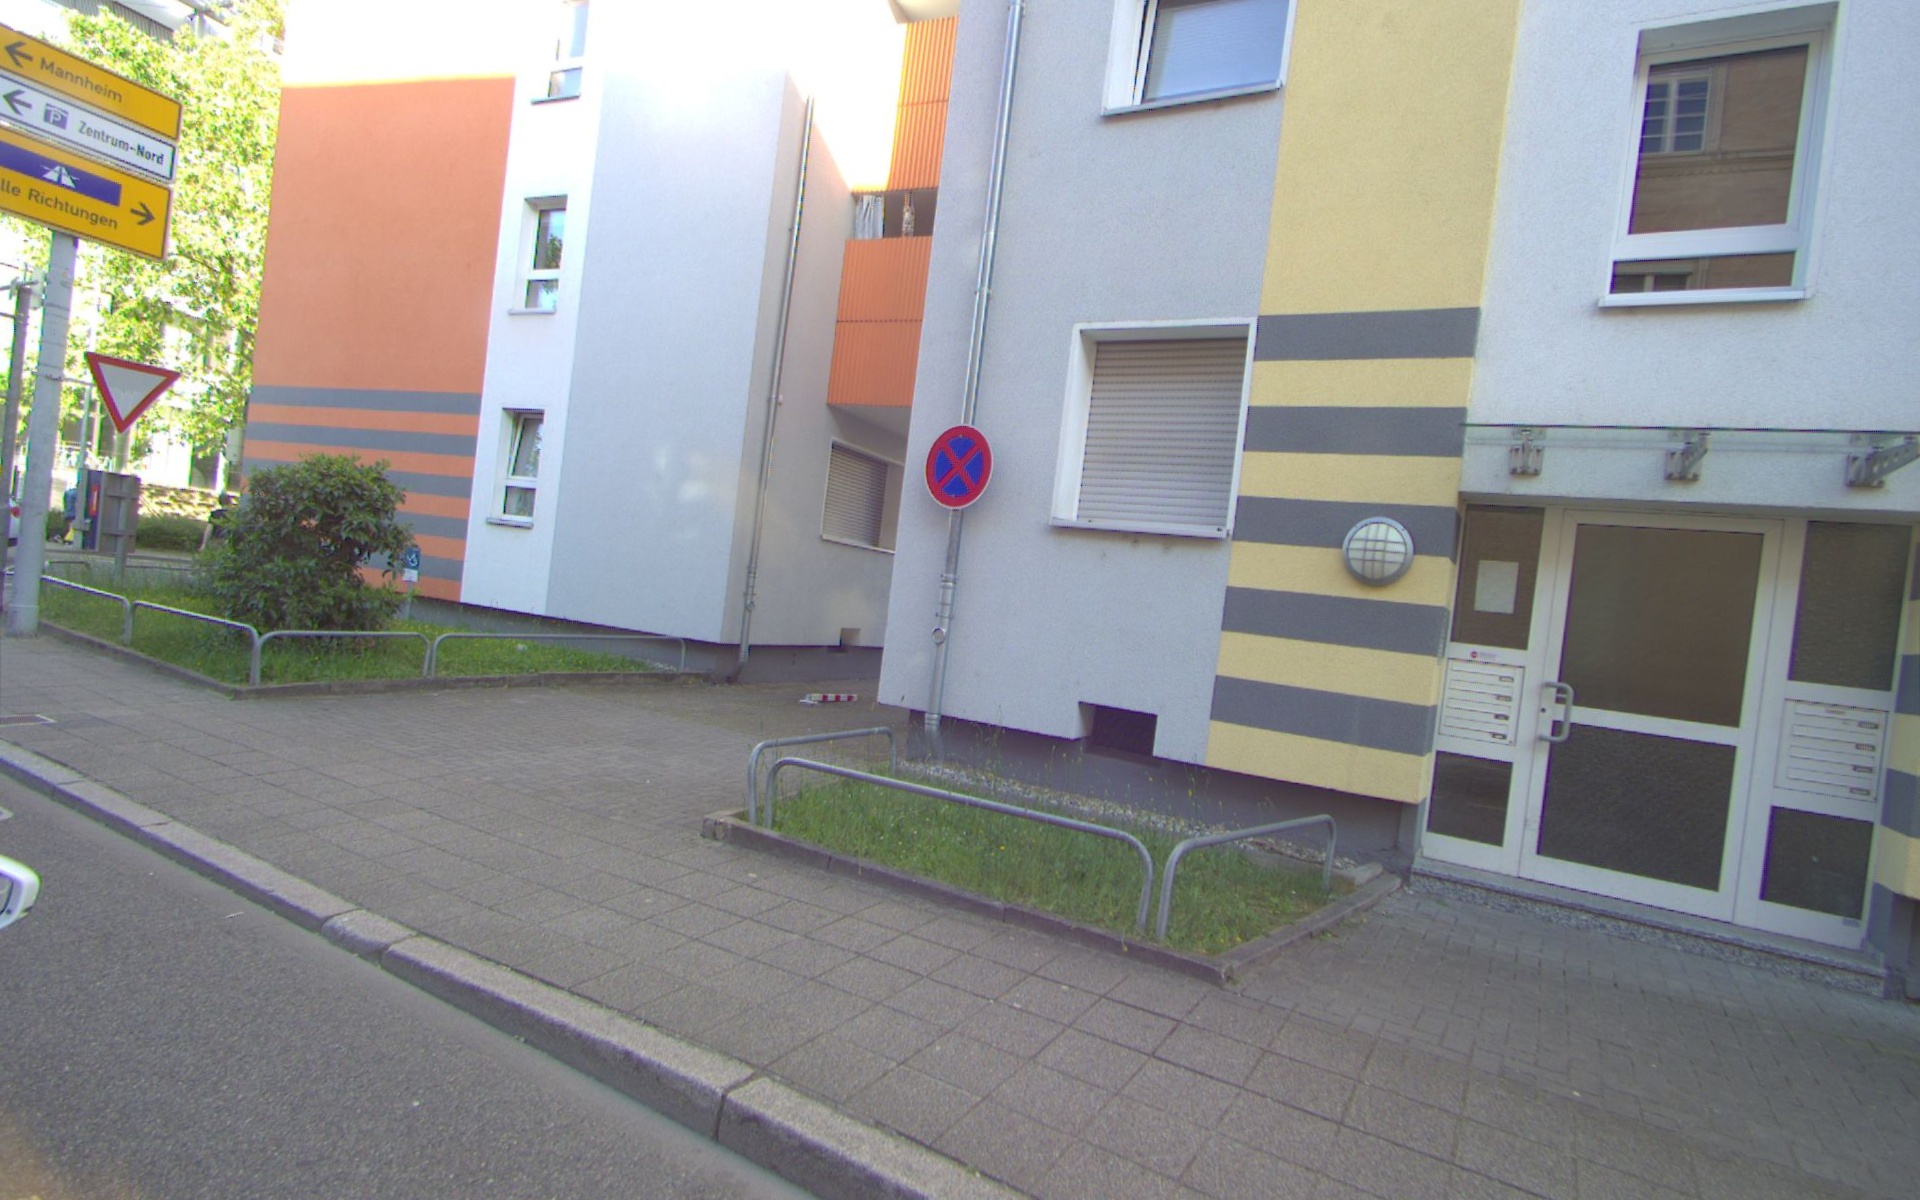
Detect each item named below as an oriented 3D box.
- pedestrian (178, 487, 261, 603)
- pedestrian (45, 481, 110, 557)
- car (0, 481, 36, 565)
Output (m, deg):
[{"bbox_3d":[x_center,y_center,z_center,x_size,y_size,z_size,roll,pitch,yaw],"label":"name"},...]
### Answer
[{"bbox_3d":[-12.551,-0.903,17.071,0.690,1.831,0.719,7,-1,-9],"label":"pedestrian"},{"bbox_3d":[-23.690,-2.168,27.024,0.748,1.837,0.917,7,-1,24],"label":"pedestrian"},{"bbox_3d":[-19.162,-1.644,17.419,1.686,1.532,4.373,7,-1,13],"label":"car"}]
